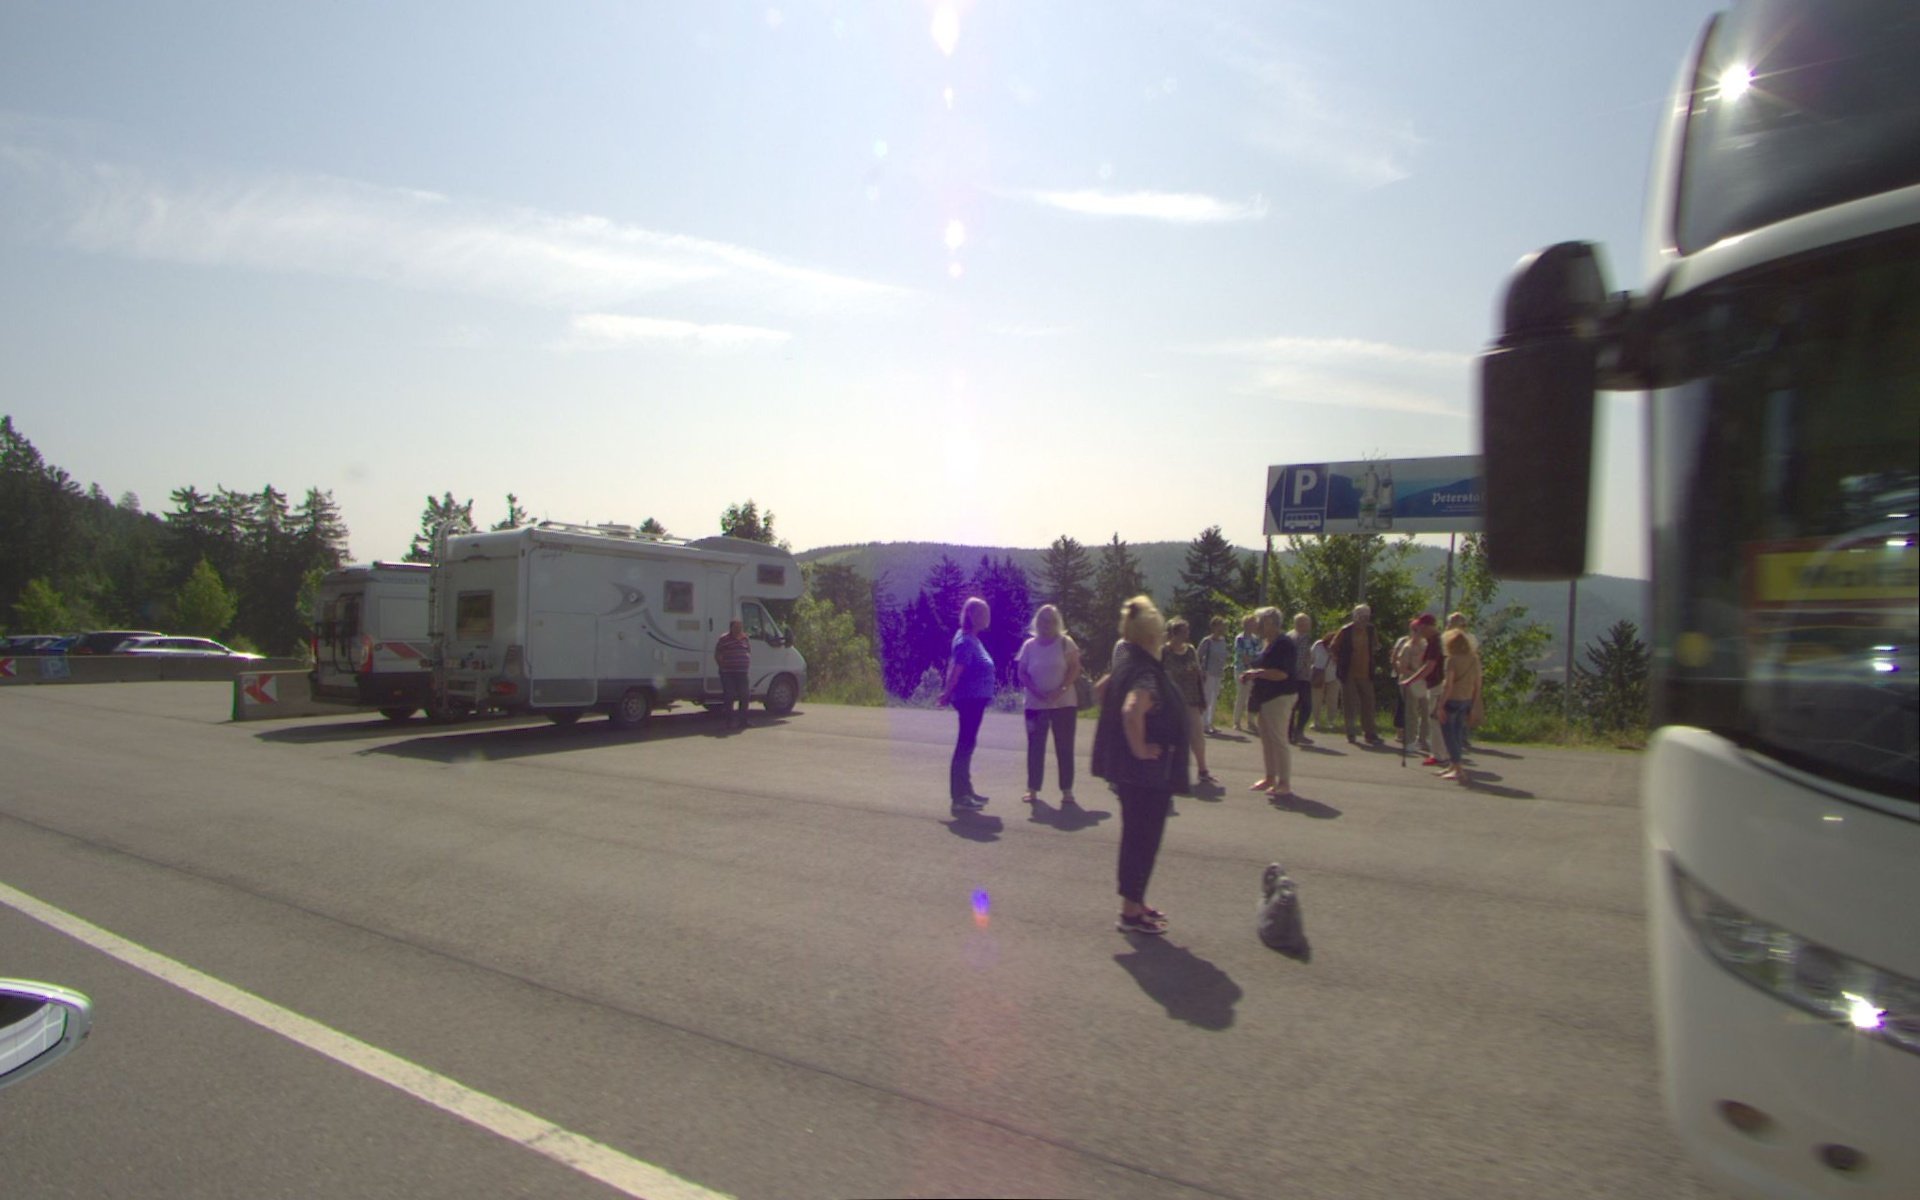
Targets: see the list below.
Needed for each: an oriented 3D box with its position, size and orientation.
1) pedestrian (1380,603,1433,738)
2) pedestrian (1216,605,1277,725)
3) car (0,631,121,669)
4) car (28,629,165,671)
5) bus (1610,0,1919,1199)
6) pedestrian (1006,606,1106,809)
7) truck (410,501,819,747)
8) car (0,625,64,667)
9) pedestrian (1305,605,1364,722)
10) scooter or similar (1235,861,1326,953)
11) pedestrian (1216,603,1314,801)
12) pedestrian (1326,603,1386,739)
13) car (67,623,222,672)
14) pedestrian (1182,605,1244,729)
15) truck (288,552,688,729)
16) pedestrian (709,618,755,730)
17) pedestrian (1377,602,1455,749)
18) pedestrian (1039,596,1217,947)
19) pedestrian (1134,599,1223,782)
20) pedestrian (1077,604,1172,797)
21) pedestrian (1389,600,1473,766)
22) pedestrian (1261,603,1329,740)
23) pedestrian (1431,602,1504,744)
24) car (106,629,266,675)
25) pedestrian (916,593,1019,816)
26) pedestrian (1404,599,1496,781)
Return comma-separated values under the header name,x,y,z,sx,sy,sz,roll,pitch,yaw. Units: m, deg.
name,x,y,z,sx,sy,sz,roll,pitch,yaw
pedestrian,5.848,0.907,13.121,0.463,1.719,0.480,0,0,-41
pedestrian,4.223,0.941,14.763,0.625,1.719,0.622,0,0,-41
car,-38.758,2.119,43.127,1.577,1.587,3.747,-1,-2,30
car,-35.860,2.034,41.670,1.780,1.556,3.980,3,0,33
bus,6.108,-0.227,6.129,2.802,3.624,12.804,0,-1,37
pedestrian,0.826,0.896,8.699,0.623,1.672,0.625,0,0,-30
truck,-5.305,0.376,16.400,2.498,3.237,6.047,-1,-1,35
car,-42.100,2.023,43.639,1.867,1.816,4.255,-3,-3,34
pedestrian,5.681,0.944,15.203,0.625,1.719,0.622,0,0,-41
scooter or similar,1.534,1.461,4.797,0.323,0.315,0.283,-1,-1,45
pedestrian,2.759,0.888,9.067,0.625,1.701,0.622,0,0,-41
pedestrian,5.188,0.909,13.123,0.625,1.719,0.504,0,0,-41
car,-29.148,1.740,35.922,1.578,1.667,3.982,-1,-4,33
pedestrian,3.632,0.935,14.359,0.625,1.719,0.622,0,0,-41
truck,-8.152,0.651,18.073,2.309,2.624,6.241,0,-1,36
pedestrian,-3.486,1.112,15.310,0.636,1.662,0.631,0,0,-18
pedestrian,5.494,0.890,12.088,0.616,1.719,0.632,0,0,-6
pedestrian,0.833,0.784,4.977,0.625,1.587,0.622,0,0,-41
pedestrian,2.152,0.861,9.869,0.625,1.719,0.622,0,0,-41
pedestrian,1.535,0.902,9.357,0.625,1.720,0.622,0,0,-41
pedestrian,5.100,0.870,10.845,0.625,1.719,0.622,0,0,-41
pedestrian,4.364,0.910,13.055,0.625,1.719,0.622,0,0,-41
pedestrian,6.366,0.896,12.563,0.625,1.719,0.622,0,0,-41
car,-26.483,1.805,34.393,1.749,1.494,3.980,-1,-4,34
pedestrian,0.063,0.847,8.446,0.625,1.781,0.622,0,0,-41
pedestrian,4.846,0.854,9.902,0.625,1.719,0.622,0,0,-41
